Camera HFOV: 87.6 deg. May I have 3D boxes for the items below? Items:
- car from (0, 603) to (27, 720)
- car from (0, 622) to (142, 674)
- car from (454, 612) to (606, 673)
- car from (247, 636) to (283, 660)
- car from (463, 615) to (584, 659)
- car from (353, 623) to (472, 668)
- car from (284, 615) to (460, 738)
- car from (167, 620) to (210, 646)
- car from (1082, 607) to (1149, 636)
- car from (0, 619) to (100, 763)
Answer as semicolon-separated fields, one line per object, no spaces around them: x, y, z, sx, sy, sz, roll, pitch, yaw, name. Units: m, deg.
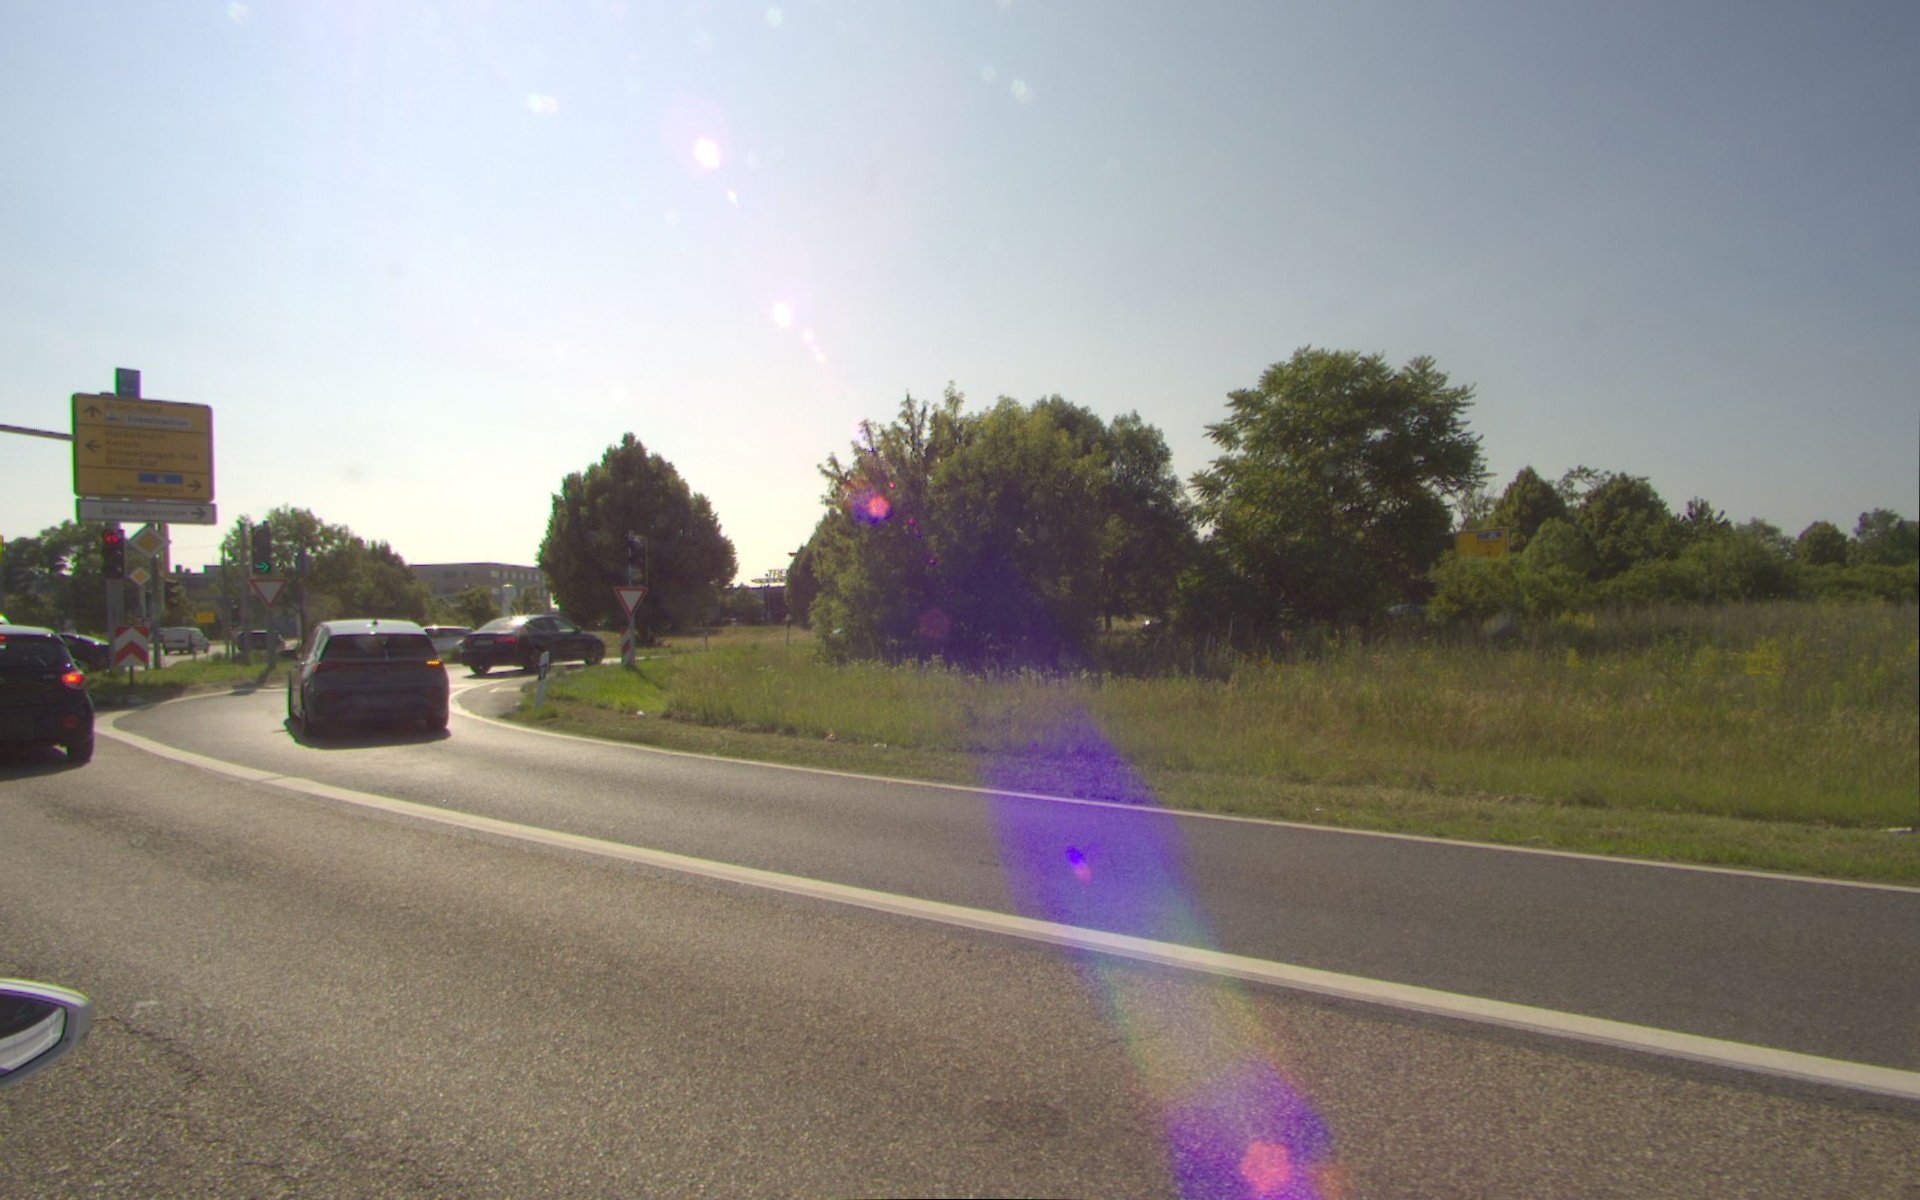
-15.688;0.918;15.381;3.707;1.698;1.625;-1;-2;41;car
-29.505;1.539;32.511;4.273;1.539;1.798;-1;0;-30;car
-10.971;1.028;25.871;1.615;1.404;3.997;0;0;12;car
-51.796;3.570;74.702;1.856;1.694;3.751;1;-2;-30;car
-15.743;1.316;36.179;3.856;1.484;1.715;0;-1;-30;car
-20.518;1.675;37.624;3.825;1.539;1.798;-1;0;-30;car
-8.824;1.014;14.869;1.758;1.537;4.067;1;-1;-38;car
-55.716;2.388;72.371;1.696;1.842;3.762;1;-2;-27;car
8.480;1.205;54.607;3.493;1.535;1.455;1;-2;-28;car
-11.013;0.951;11.241;3.257;1.467;1.625;-1;-2;41;car
